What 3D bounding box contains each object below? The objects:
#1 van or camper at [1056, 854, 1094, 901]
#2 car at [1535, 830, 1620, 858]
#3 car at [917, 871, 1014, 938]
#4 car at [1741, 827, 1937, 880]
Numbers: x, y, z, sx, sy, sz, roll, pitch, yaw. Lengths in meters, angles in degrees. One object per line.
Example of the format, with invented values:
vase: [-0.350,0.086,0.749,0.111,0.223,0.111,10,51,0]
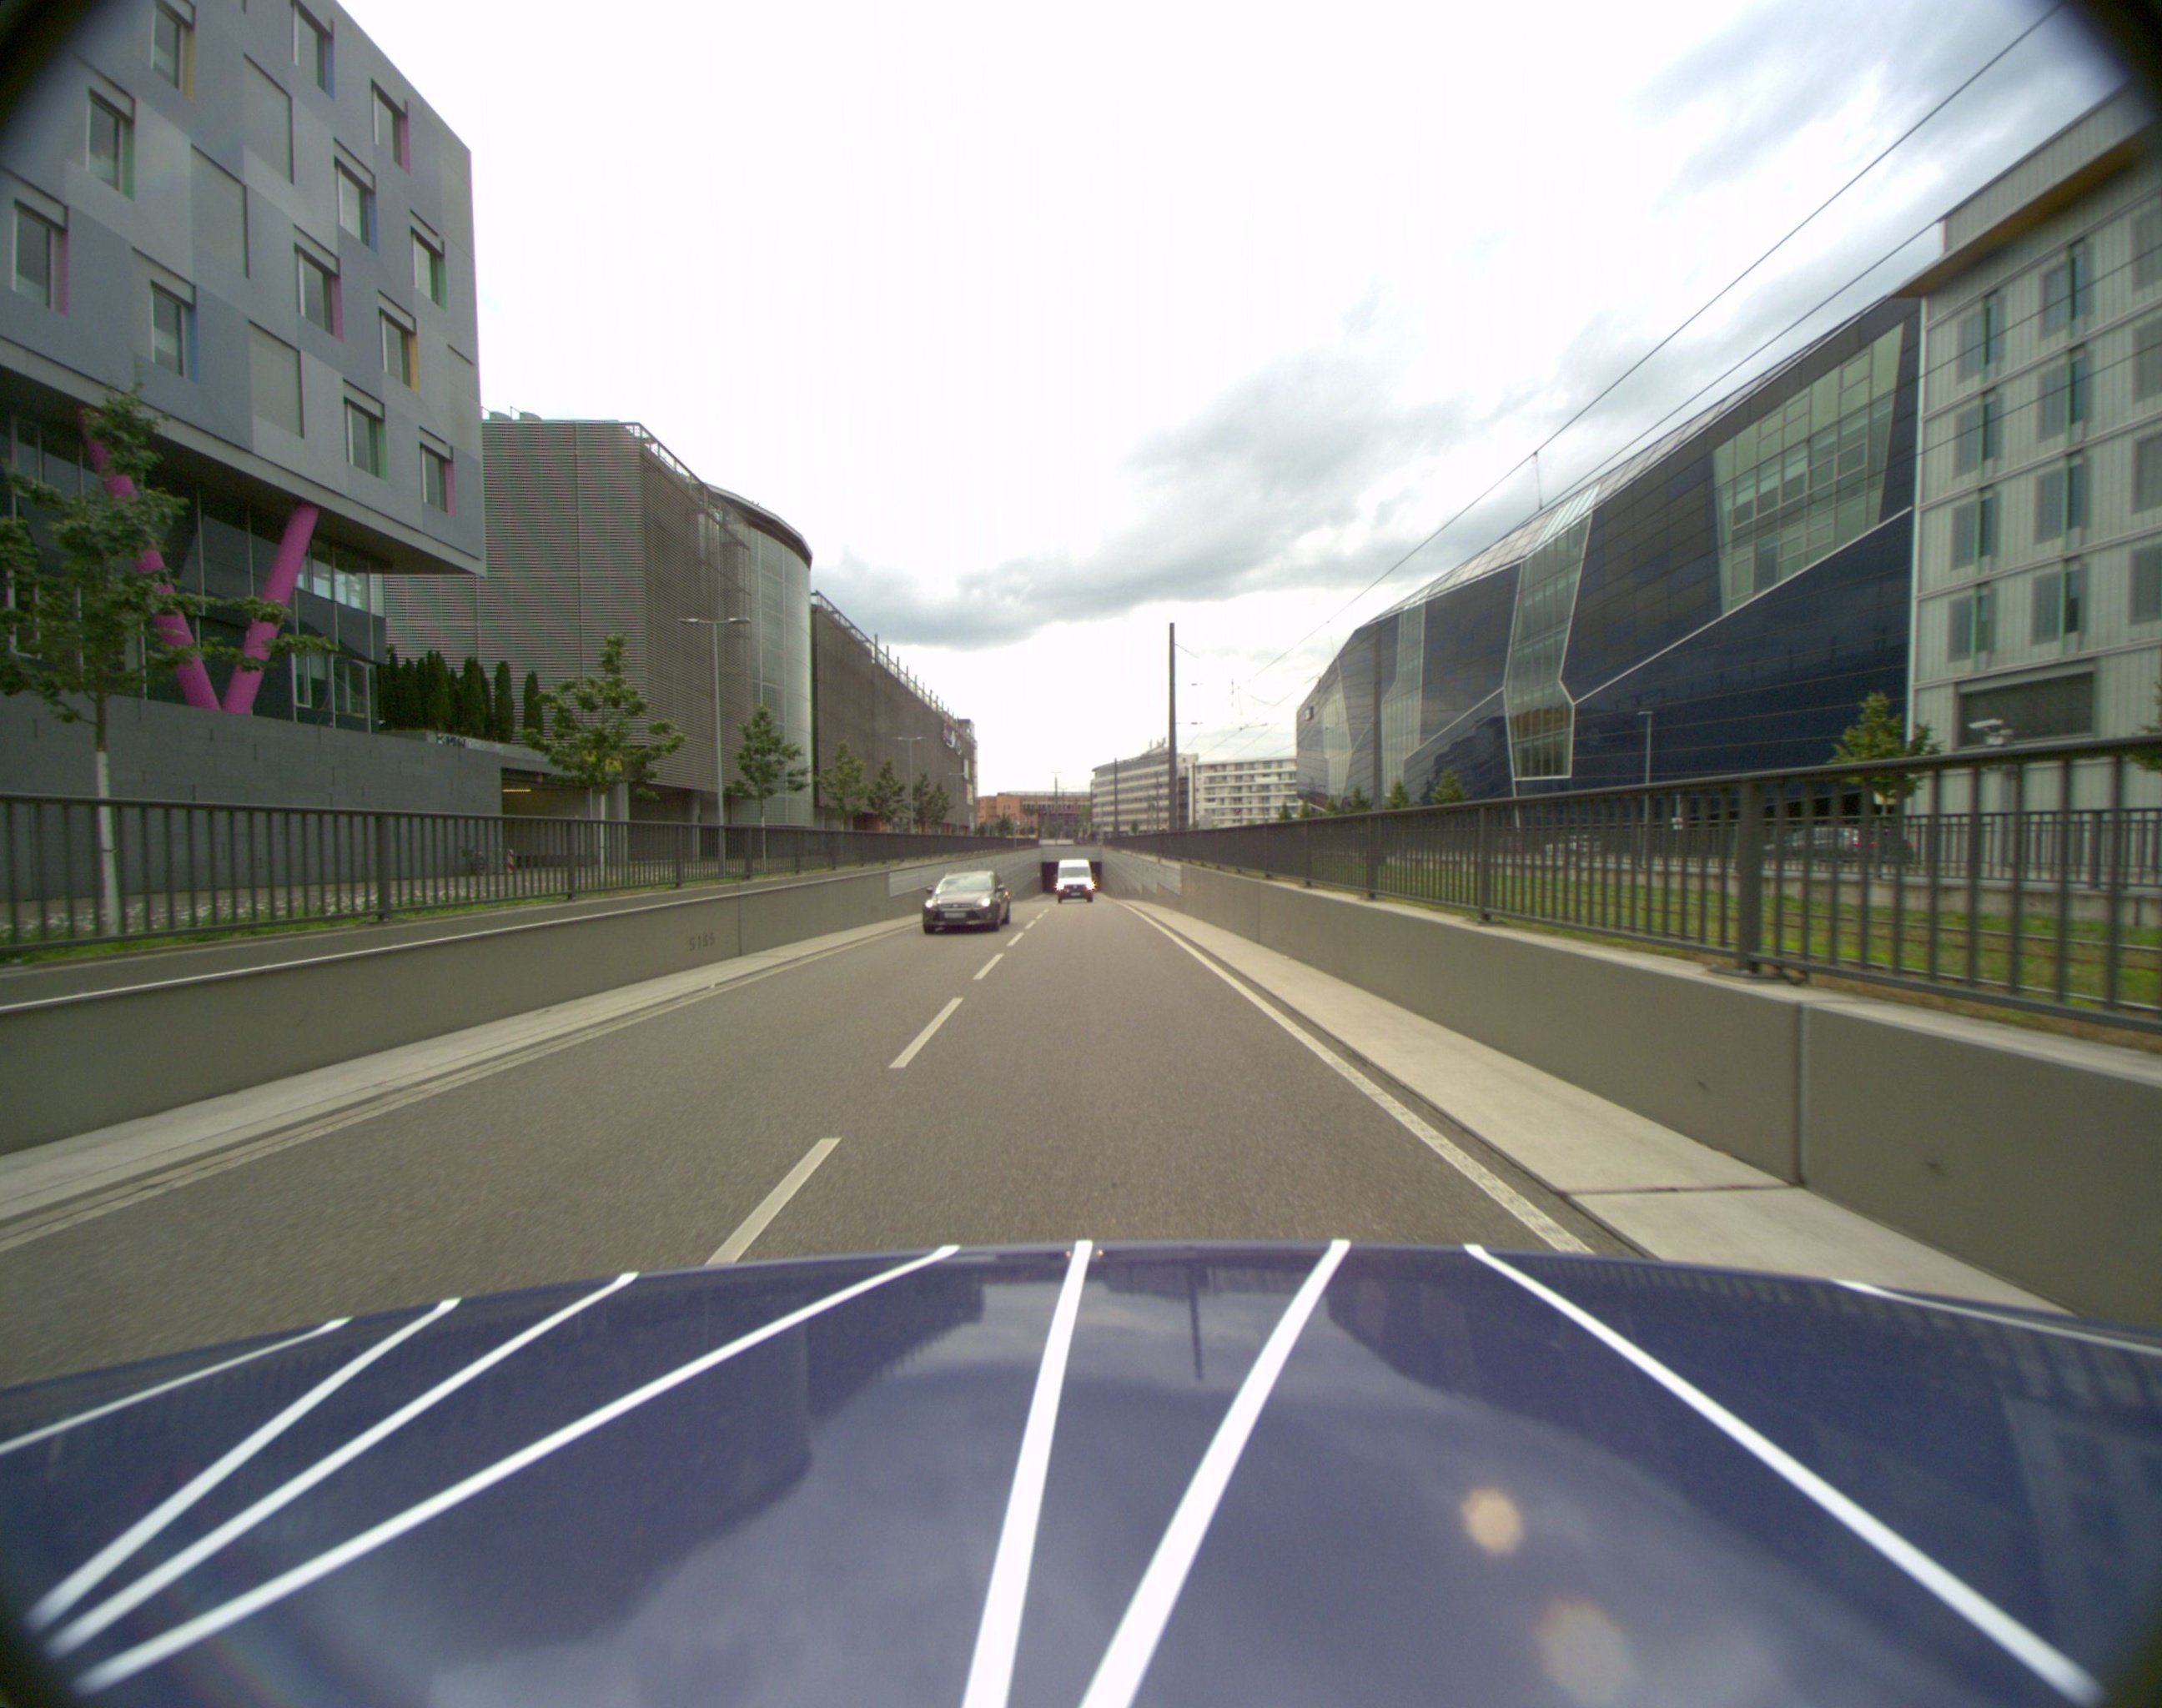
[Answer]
van or camper: [-0.342,1.453,44.732,2.043,2.570,5.044,-1,-4,0]
car: [30.222,-0.551,46.447,1.999,1.583,4.766,-1,0,-1]
car: [-2.829,1.199,19.454,1.752,1.490,4.270,-1,-1,1]
car: [25.305,-0.002,25.679,1.998,1.583,4.767,-1,0,2]
